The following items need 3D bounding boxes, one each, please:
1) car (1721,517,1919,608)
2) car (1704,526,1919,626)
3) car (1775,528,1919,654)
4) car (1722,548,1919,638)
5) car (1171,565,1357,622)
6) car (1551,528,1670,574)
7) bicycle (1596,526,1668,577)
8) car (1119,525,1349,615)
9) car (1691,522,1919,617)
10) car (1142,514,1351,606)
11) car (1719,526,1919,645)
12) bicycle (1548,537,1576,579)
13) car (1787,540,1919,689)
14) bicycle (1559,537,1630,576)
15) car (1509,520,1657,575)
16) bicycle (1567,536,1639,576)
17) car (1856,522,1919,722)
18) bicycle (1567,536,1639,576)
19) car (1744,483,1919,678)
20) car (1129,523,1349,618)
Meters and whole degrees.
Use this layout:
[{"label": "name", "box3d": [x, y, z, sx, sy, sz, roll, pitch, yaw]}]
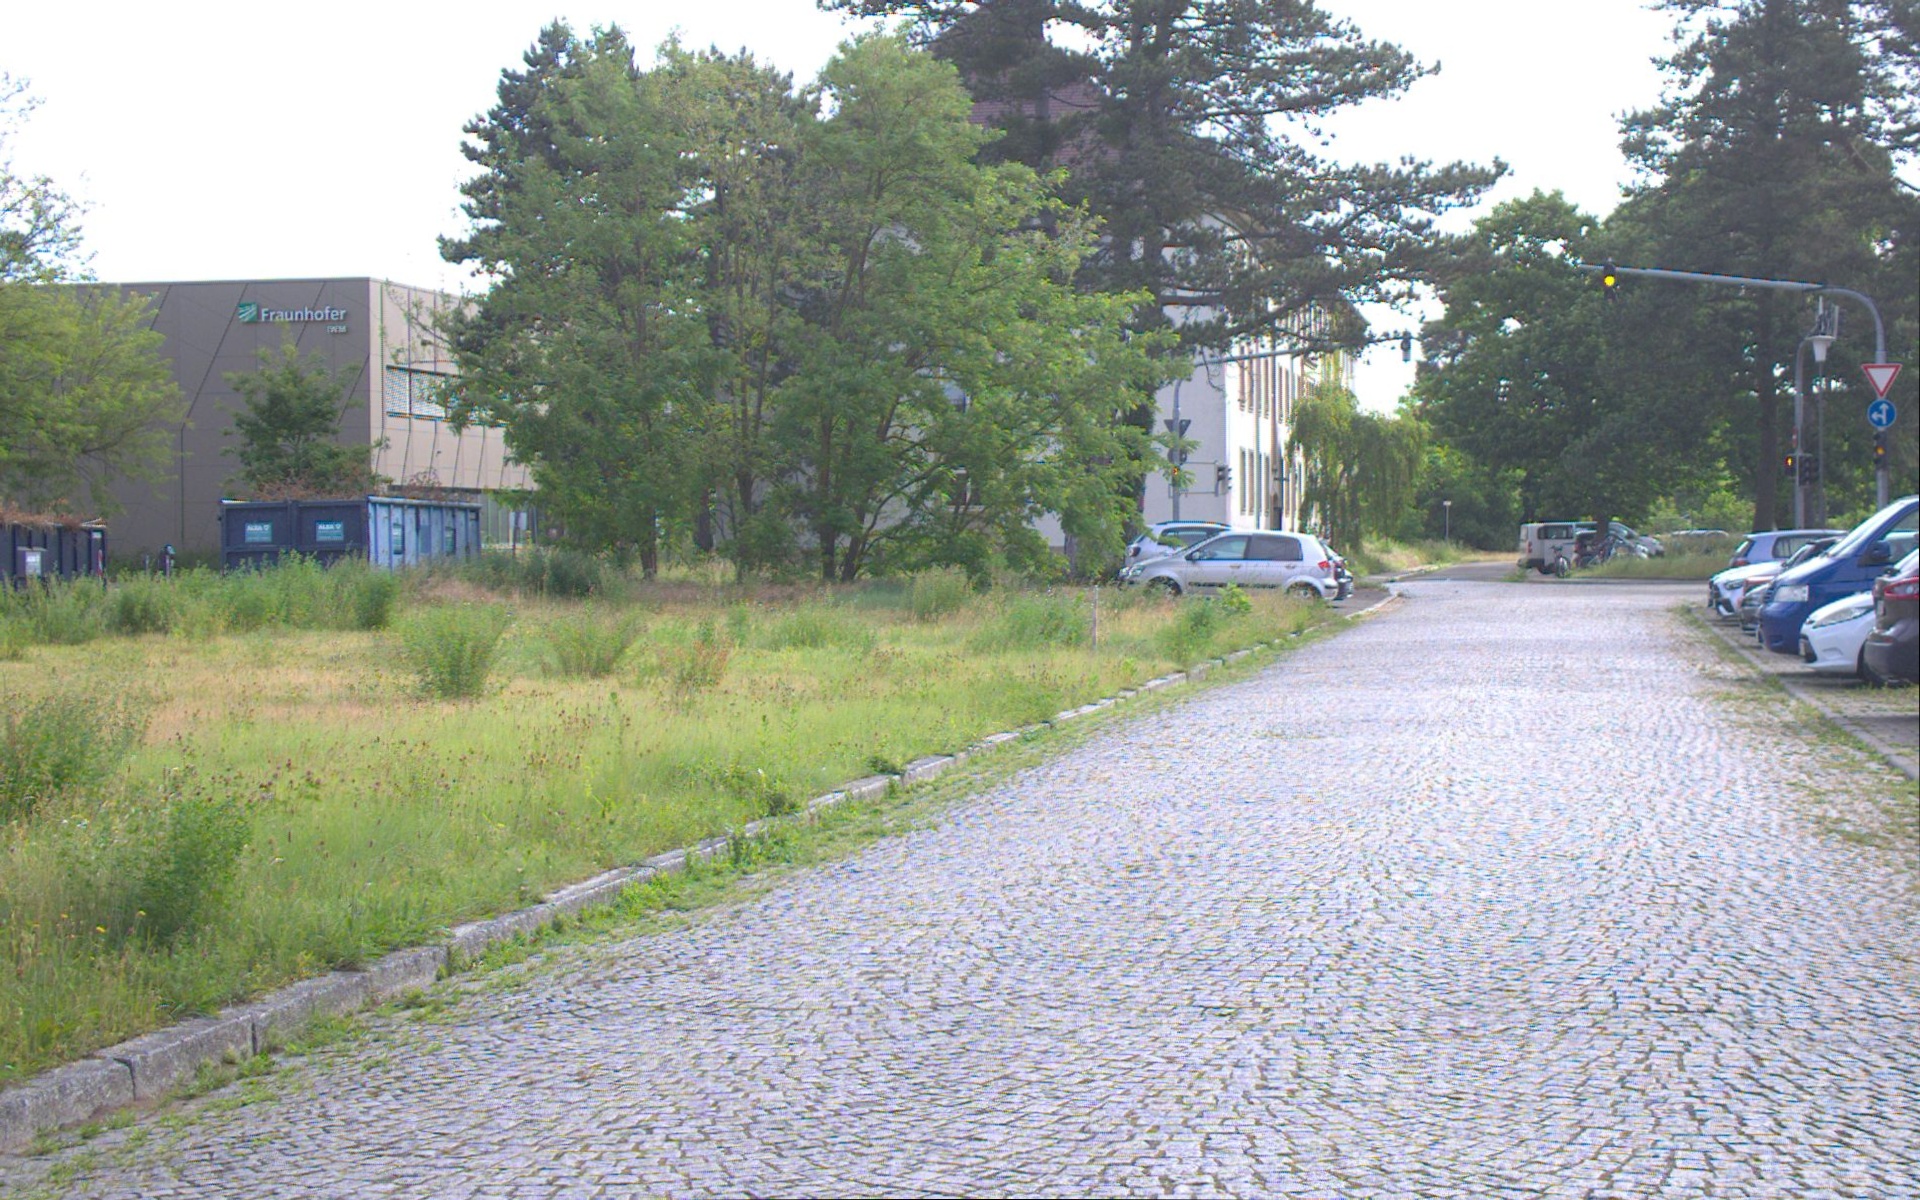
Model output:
[{"label": "car", "box3d": [15.103, -0.662, 59.996, 3.389, 1.538, 1.391, 0, 1, 5]}, {"label": "car", "box3d": [13.986, -0.394, 54.738, 3.987, 1.538, 1.664, 0, 1, 5]}, {"label": "car", "box3d": [11.700, -0.128, 41.900, 3.293, 1.499, 1.664, 0, 1, 8]}, {"label": "car", "box3d": [12.957, -0.112, 50.373, 3.293, 1.263, 1.664, 0, 1, 5]}, {"label": "car", "box3d": [6.064, -0.136, 68.774, 3.671, 1.090, 1.646, 0, 1, 4]}, {"label": "car", "box3d": [23.266, -1.762, 123.056, 3.987, 1.638, 2.000, 0, 1, 4]}, {"label": "bicycle", "box3d": [21.484, -1.555, 109.918, 2.161, 1.610, 0.812, 0, 1, 4]}, {"label": "car", "box3d": [4.858, -0.548, 61.074, 3.987, 1.546, 2.000, 0, 1, 4]}, {"label": "car", "box3d": [14.432, -0.519, 57.510, 4.123, 1.538, 1.664, 0, 1, 5]}, {"label": "car", "box3d": [5.519, -0.791, 66.571, 3.987, 1.744, 1.927, 0, 1, 3]}, {"label": "car", "box3d": [11.893, -0.204, 44.881, 3.597, 1.501, 1.664, 0, 1, 0]}, {"label": "bicycle", "box3d": [18.457, -1.286, 105.342, 0.810, 1.264, 1.972, 0, 1, 11]}, {"label": "car", "box3d": [10.229, 0.099, 34.175, 3.723, 1.419, 1.654, -1, 1, 8]}, {"label": "bicycle", "box3d": [20.422, -1.408, 110.630, 2.161, 1.264, 0.812, 0, 1, 4]}, {"label": "car", "box3d": [22.886, -1.939, 126.456, 5.050, 2.007, 2.000, 0, 1, 0]}, {"label": "bicycle", "box3d": [20.346, -1.389, 108.813, 2.161, 1.264, 0.812, 0, 1, 4]}, {"label": "car", "box3d": [9.343, 0.158, 27.681, 3.951, 1.575, 1.761, 0, 1, 9]}, {"label": "bicycle", "box3d": [20.445, -1.394, 109.392, 2.161, 1.264, 0.812, 0, 1, 4]}, {"label": "car", "box3d": [10.866, -0.230, 36.576, 4.784, 2.033, 1.737, 0, 1, 8]}, {"label": "car", "box3d": [5.146, -0.563, 63.588, 3.987, 1.700, 2.000, 0, 1, 4]}]
